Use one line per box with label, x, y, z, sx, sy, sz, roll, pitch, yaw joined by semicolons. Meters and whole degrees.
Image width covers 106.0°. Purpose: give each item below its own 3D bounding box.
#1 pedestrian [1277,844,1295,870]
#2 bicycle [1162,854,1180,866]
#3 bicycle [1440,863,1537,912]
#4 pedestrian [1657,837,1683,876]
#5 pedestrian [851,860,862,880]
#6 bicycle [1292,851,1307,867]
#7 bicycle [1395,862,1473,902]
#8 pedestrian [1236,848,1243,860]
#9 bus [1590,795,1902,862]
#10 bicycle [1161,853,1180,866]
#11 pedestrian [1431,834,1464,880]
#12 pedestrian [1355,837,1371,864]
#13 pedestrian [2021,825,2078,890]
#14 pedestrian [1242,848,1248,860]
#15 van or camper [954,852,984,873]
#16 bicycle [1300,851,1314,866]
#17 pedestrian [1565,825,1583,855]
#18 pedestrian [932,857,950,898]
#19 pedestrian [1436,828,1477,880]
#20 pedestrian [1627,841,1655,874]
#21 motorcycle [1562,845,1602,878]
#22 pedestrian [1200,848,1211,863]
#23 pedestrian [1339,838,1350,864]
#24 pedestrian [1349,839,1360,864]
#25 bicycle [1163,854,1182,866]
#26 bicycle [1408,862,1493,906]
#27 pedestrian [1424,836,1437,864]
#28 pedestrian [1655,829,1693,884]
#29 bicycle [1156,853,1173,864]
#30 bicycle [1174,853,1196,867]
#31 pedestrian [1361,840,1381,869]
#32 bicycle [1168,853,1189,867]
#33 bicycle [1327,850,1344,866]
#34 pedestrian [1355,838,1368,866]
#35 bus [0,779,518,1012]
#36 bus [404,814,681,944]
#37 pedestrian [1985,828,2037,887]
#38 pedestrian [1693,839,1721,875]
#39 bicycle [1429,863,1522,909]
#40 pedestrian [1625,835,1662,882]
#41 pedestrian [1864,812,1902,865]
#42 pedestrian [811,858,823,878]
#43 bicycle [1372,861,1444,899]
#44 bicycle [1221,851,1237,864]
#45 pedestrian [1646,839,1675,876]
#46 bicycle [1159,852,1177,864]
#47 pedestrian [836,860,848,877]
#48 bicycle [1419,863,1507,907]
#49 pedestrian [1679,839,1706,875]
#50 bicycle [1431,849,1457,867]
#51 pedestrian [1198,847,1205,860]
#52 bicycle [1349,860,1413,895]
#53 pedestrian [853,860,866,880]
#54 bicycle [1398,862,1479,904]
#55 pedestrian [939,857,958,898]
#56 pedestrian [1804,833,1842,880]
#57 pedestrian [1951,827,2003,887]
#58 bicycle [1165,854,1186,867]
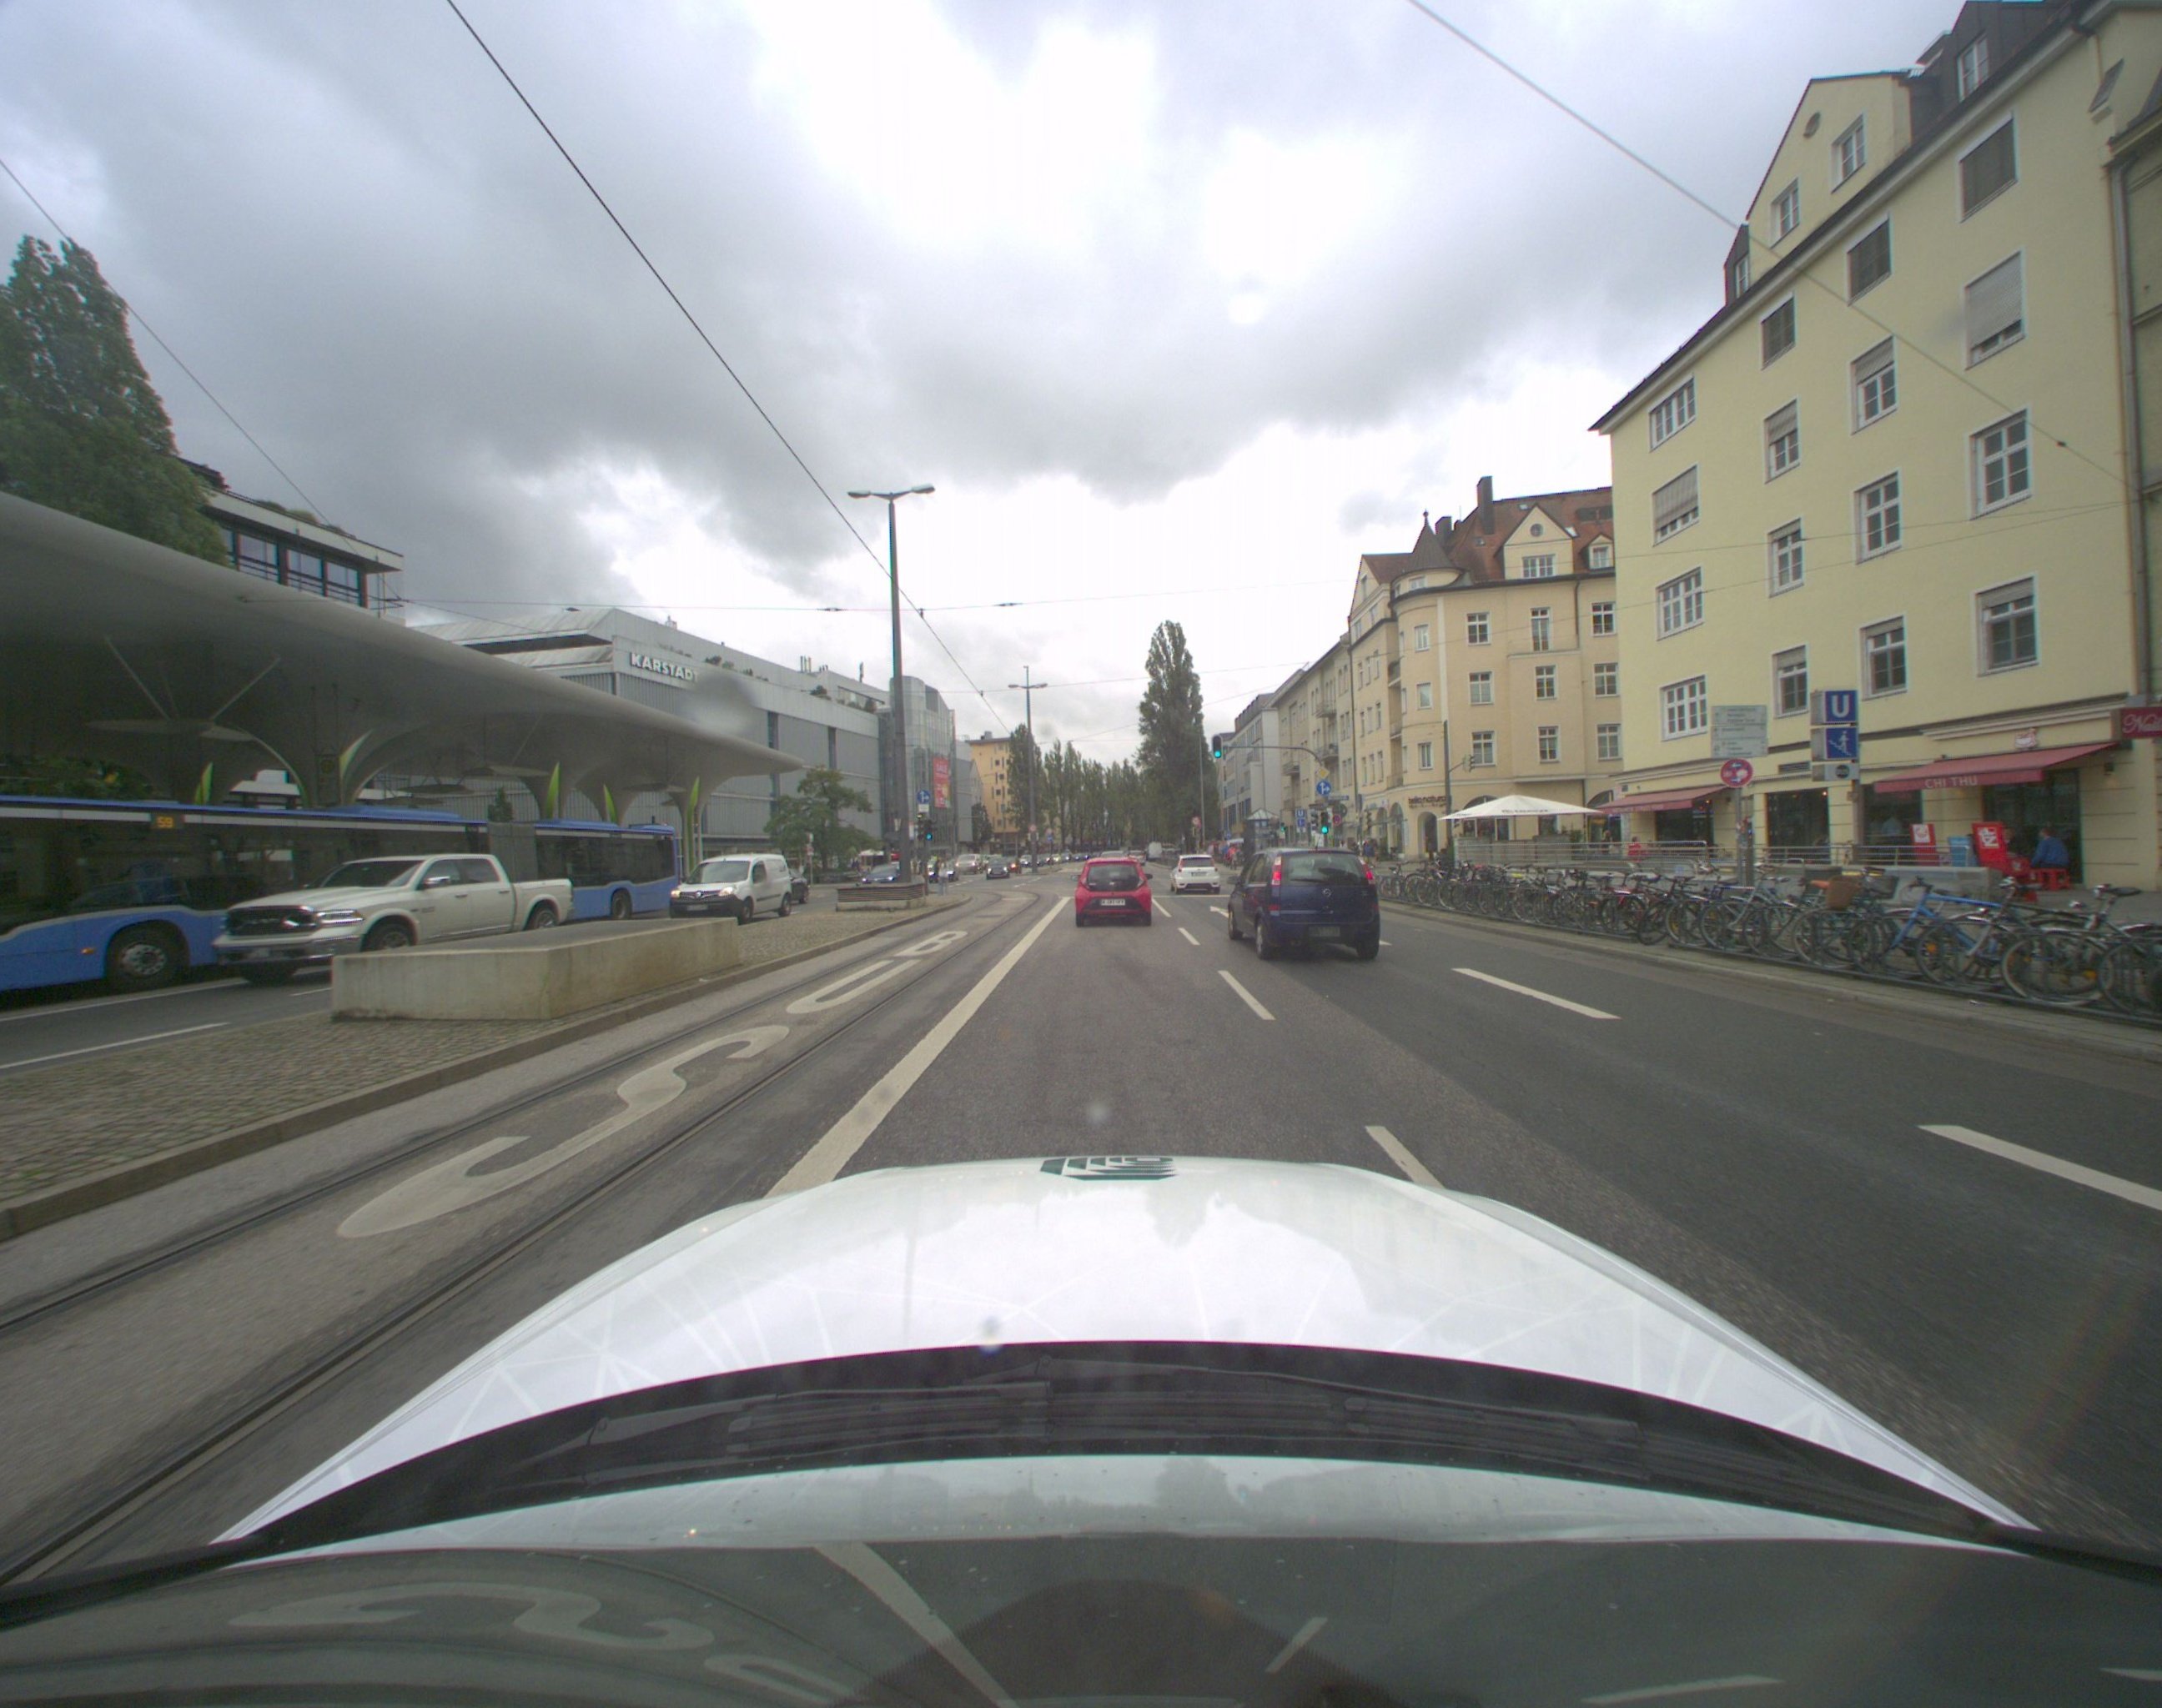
pedestrian;13.299;0.196;52.835;0.826;1.691;0.825;-2;0;39
bicycle;8.663;0.550;78.305;1.782;1.111;0.494;-2;0;45
bicycle;8.864;0.741;17.767;1.818;0.996;0.350;-3;-1;42
pedestrian;20.307;0.091;28.080;0.476;1.299;0.527;-2;0;0
pedestrian;-20.177;1.418;73.204;0.752;1.773;0.767;-2;0;-21
bicycle;15.191;0.324;56.646;0.564;1.107;1.867;-2;0;2
bicycle;9.102;0.731;21.067;0.350;0.996;1.820;-2;-1;-42
pedestrian;19.148;-0.034;98.412;0.596;1.402;0.580;-2;0;2
bus;35.997;-1.339;44.721;13.467;2.966;2.825;-2;1;12
bicycle;8.708;0.517;78.968;1.815;1.168;0.590;-2;0;45
pedestrian;13.932;0.117;30.955;0.761;1.695;0.762;-2;0;-23
pedestrian;18.626;-0.237;53.759;0.648;1.705;0.727;-4;3;-27
pedestrian;20.512;0.073;17.259;0.493;1.332;0.552;-2;0;2
pedestrian;19.832;-0.038;98.366;0.572;1.402;0.580;-2;0;2
van or camper;-10.449;0.805;76.598;1.921;1.826;5.441;-2;0;1
bicycle;15.699;0.324;56.613;0.492;0.975;1.867;-2;0;2
pedestrian;29.656;-0.845;48.983;0.676;1.705;0.749;-2;3;11
pedestrian;-5.631;0.944;32.664;0.489;1.618;0.552;-2;0;-33
pedestrian;12.860;0.001;27.879;0.882;1.743;0.854;-2;0;-15
pedestrian;20.712;0.130;30.141;0.512;1.182;0.703;-2;0;0
motorcycle;17.977;0.261;29.241;0.484;1.156;1.572;-2;0;3
pedestrian;13.517;0.142;88.156;0.814;1.522;0.792;-2;0;-33
pedestrian;17.445;-0.183;53.920;0.560;1.670;0.566;-2;3;24
pedestrian;18.135;-0.199;54.016;0.556;1.609;0.570;-2;3;15
bicycle;8.692;0.552;77.639;1.782;1.111;0.590;-2;0;45
bicycle;8.954;0.735;19.784;0.350;0.996;1.819;-2;-1;-45
pedestrian;21.720;-0.277;50.660;0.674;1.684;0.751;-2;3;25
pedestrian;17.825;0.074;24.482;0.612;1.632;0.678;-2;0;2
bicycle;8.990;0.458;87.578;1.814;1.136;0.590;-2;0;38
bicycle;8.664;0.521;67.880;1.782;1.158;0.551;-2;0;40
pedestrian;17.615;0.022;49.474;0.927;1.755;1.069;-2;0;13
bicycle;8.612;0.543;72.071;1.781;1.158;0.656;-2;0;38
bicycle;17.673;0.260;56.556;0.493;1.059;1.865;-2;0;-2
pedestrian;18.199;-0.145;52.803;0.642;1.751;0.640;-2;3;24
bus;-15.220;0.611;14.662;2.652;3.007;10.514;-4;0;0
bus;-15.038;0.592;23.696;2.650;3.007;7.517;-4;0;2
pedestrian;20.767;0.071;18.190;0.493;1.289;0.552;-2;0;2
pedestrian;20.840;0.094;27.122;0.476;1.166;0.527;-2;0;0
bicycle;8.910;0.739;18.432;1.818;0.996;0.350;-3;-1;42
pedestrian;17.346;0.131;25.141;0.673;1.422;0.617;-2;0;2
pedestrian;21.770;-0.422;22.105;0.506;1.397;0.490;-2;0;7
pedestrian;-23.561;1.261;72.731;0.791;1.687;0.853;-2;0;-33
bicycle;9.040;0.727;22.576;0.350;0.996;1.819;-2;-1;-43
bicycle;13.537;0.323;74.618;1.412;1.077;0.369;-2;0;3
pedestrian;20.847;0.132;29.312;0.512;1.292;0.703;-2;0;0
bicycle;8.926;0.427;83.888;1.815;1.136;0.590;-2;0;45
pedestrian;-21.197;1.313;72.296;0.754;1.493;0.765;-2;0;-33
bicycle;8.930;0.737;19.119;0.350;0.996;1.819;-2;-1;-45
pedestrian;20.310;0.094;27.064;0.476;1.166;0.527;-2;0;0
bicycle;21.781;0.225;48.849;1.580;1.033;0.247;-2;0;-13
pedestrian;15.579;-0.050;105.449;0.787;1.727;0.764;-2;0;2
bicycle;9.079;0.721;24.733;0.350;0.996;1.819;-2;-1;-43
pedestrian;-19.616;1.418;72.256;0.765;1.654;0.754;-2;0;13
bicycle;8.969;0.733;20.501;0.350;0.996;1.819;-2;-1;-45
pedestrian;-5.277;0.940;32.452;0.466;1.618;0.515;-2;0;-45
pedestrian;20.768;0.065;22.805;0.539;1.289;0.552;-2;0;2
pedestrian;19.918;0.071;18.112;0.493;1.289;0.552;-2;0;2
bicycle;8.619;0.560;74.134;1.781;1.111;0.656;-2;0;39
